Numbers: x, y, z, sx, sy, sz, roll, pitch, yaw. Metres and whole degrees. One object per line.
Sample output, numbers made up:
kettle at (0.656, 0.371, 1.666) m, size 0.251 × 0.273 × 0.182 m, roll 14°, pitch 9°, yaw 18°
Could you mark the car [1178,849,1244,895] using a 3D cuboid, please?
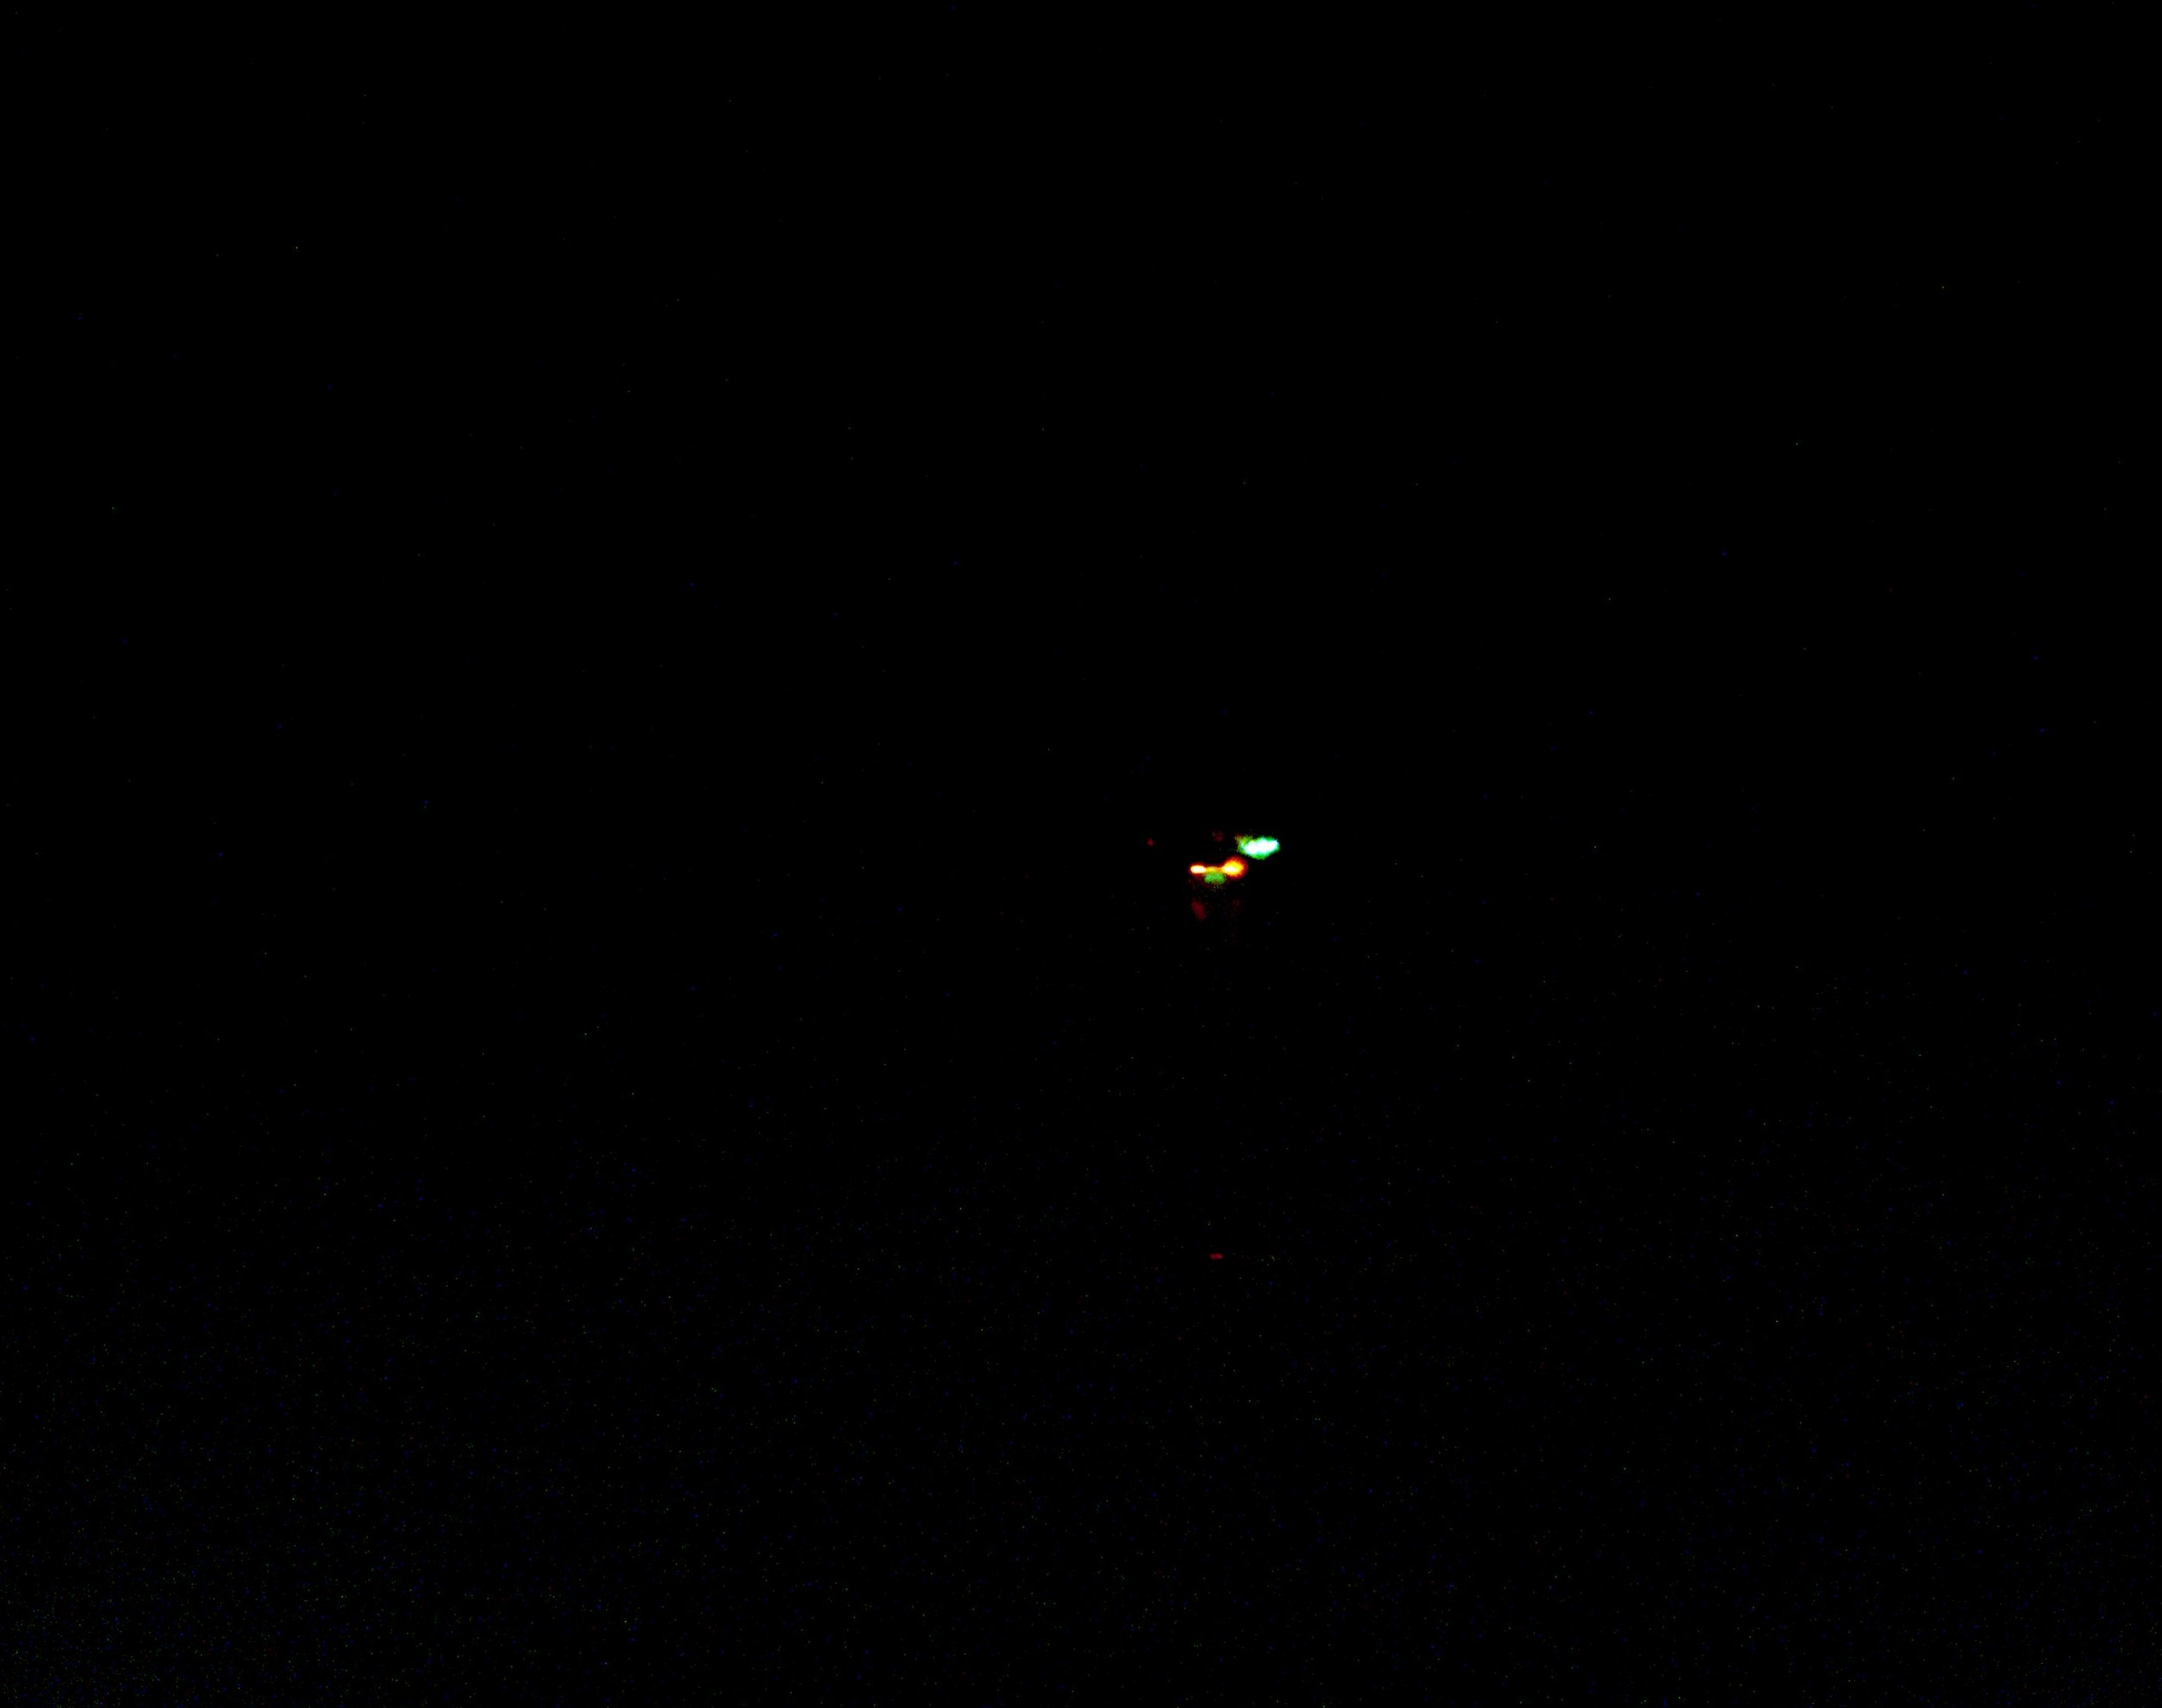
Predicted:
car at (4.780, 0.593, 28.551) m, size 1.935 × 1.575 × 4.985 m, roll 0°, pitch 0°, yaw 4°
